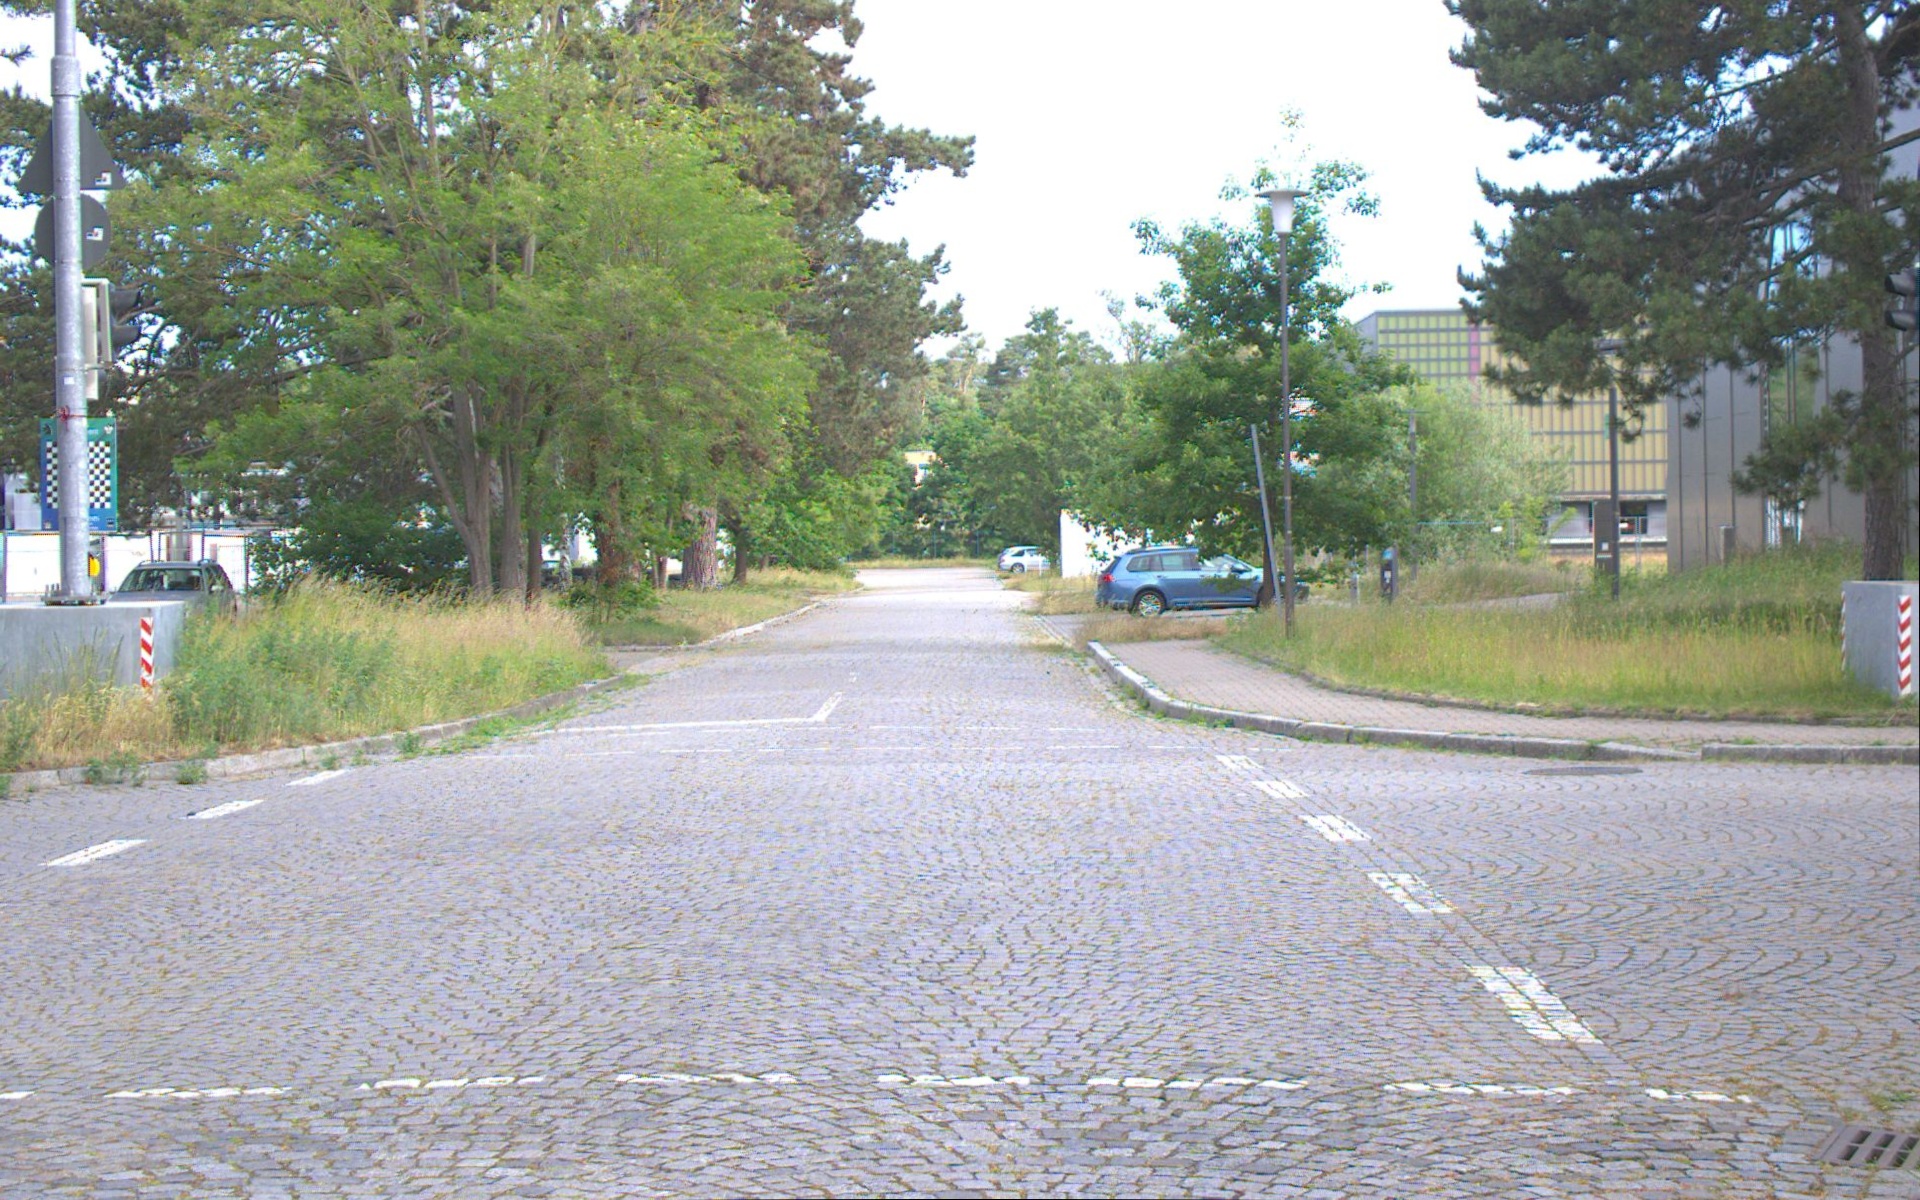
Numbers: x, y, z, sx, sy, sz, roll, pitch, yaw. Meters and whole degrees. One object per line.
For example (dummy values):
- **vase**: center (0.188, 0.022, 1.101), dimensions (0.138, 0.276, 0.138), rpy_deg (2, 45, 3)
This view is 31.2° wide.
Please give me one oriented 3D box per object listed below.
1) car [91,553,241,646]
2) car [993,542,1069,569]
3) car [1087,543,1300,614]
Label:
- **car**: center (-13.498, -0.036, 58.658), dimensions (1.613, 1.482, 4.000), rpy_deg (-1, 1, 0)
- **car**: center (3.927, -2.480, 190.508), dimensions (3.986, 1.393, 2.000), rpy_deg (-1, 1, -5)
- **car**: center (4.967, -0.468, 73.428), dimensions (4.344, 1.417, 2.000), rpy_deg (-1, 1, -2)
